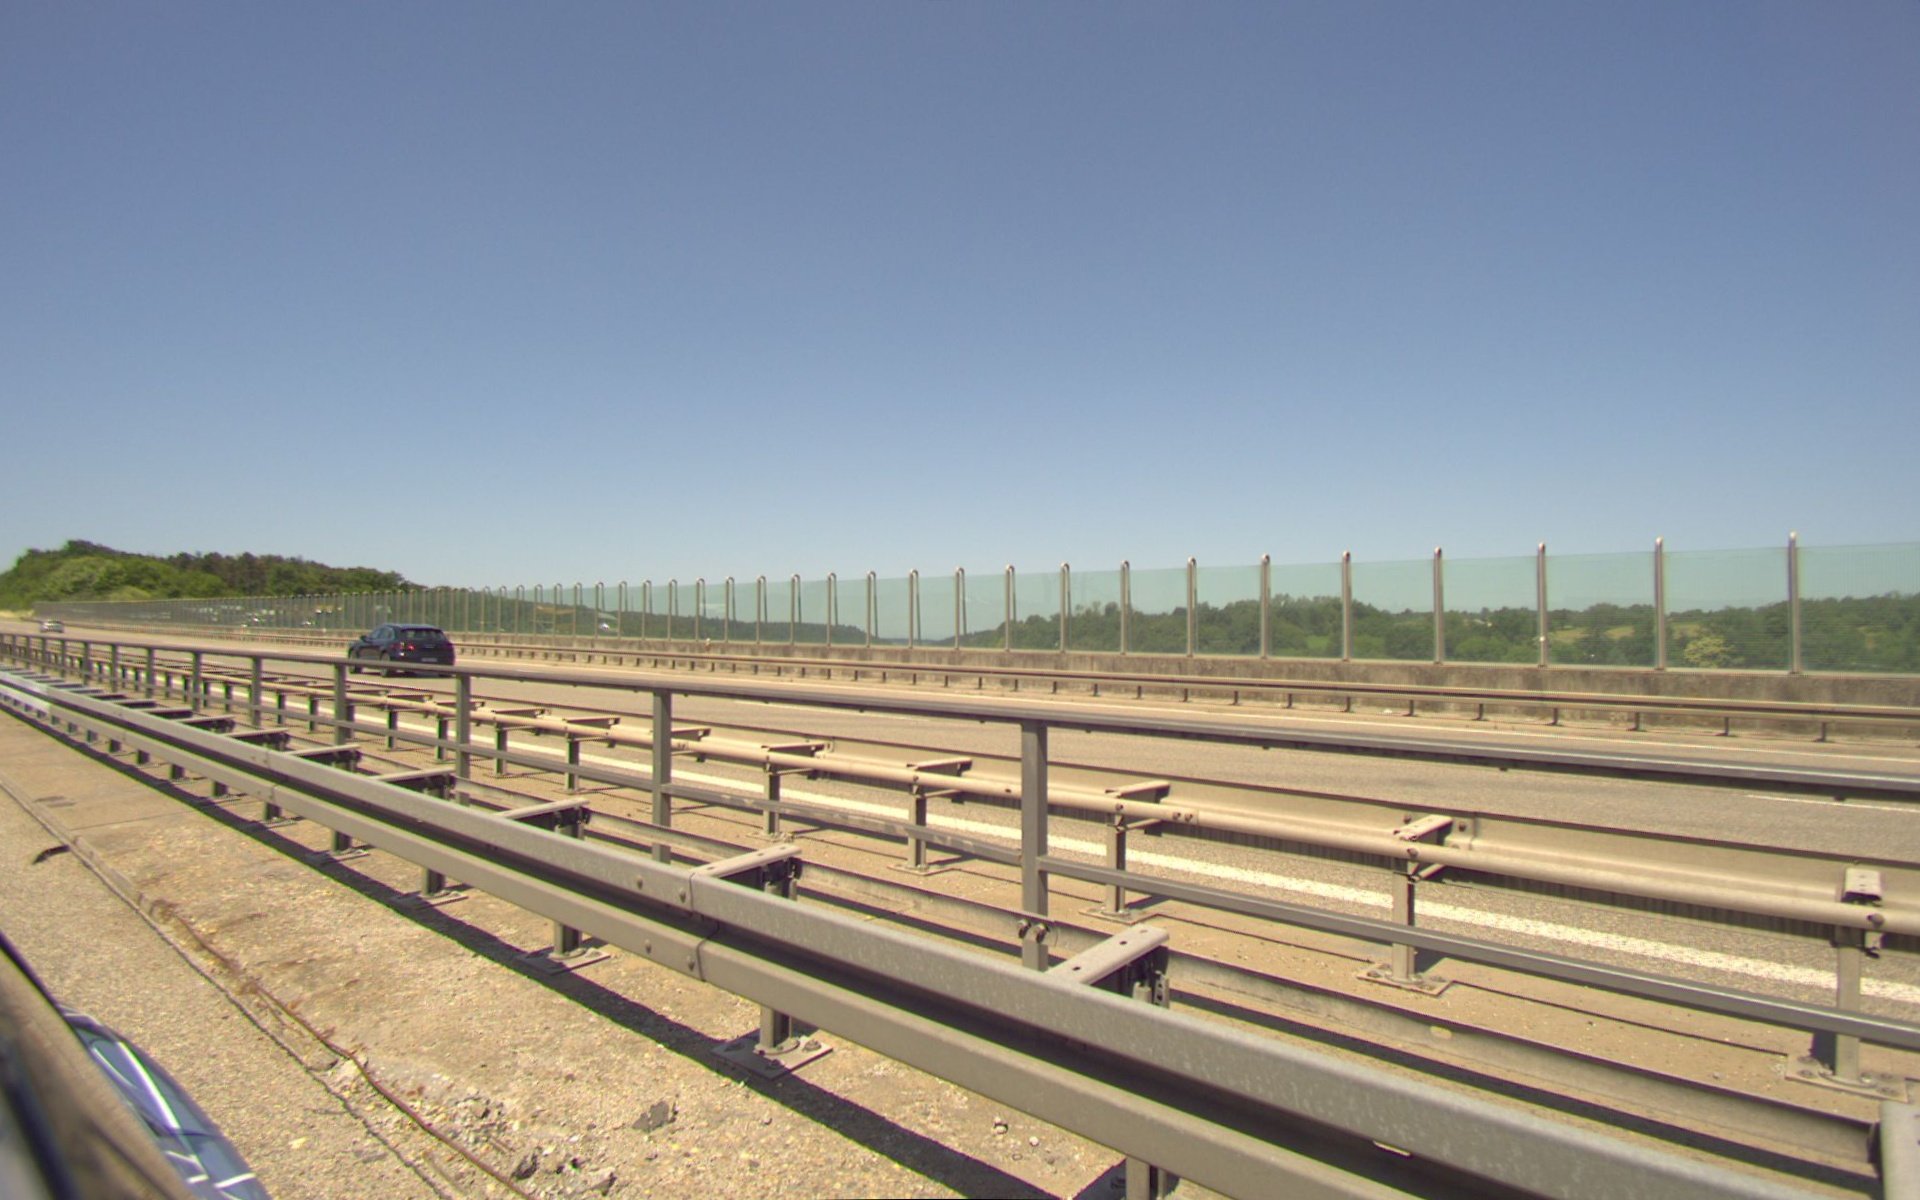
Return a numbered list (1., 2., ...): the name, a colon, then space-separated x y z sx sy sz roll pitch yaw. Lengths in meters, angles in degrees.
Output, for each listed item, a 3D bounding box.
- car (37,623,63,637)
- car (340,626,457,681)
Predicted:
1. car: -94.849 3.136 105.464 3.675 1.405 1.587 0 -3 41
2. car: -17.430 1.622 31.357 4.385 1.581 1.761 -1 -3 41
